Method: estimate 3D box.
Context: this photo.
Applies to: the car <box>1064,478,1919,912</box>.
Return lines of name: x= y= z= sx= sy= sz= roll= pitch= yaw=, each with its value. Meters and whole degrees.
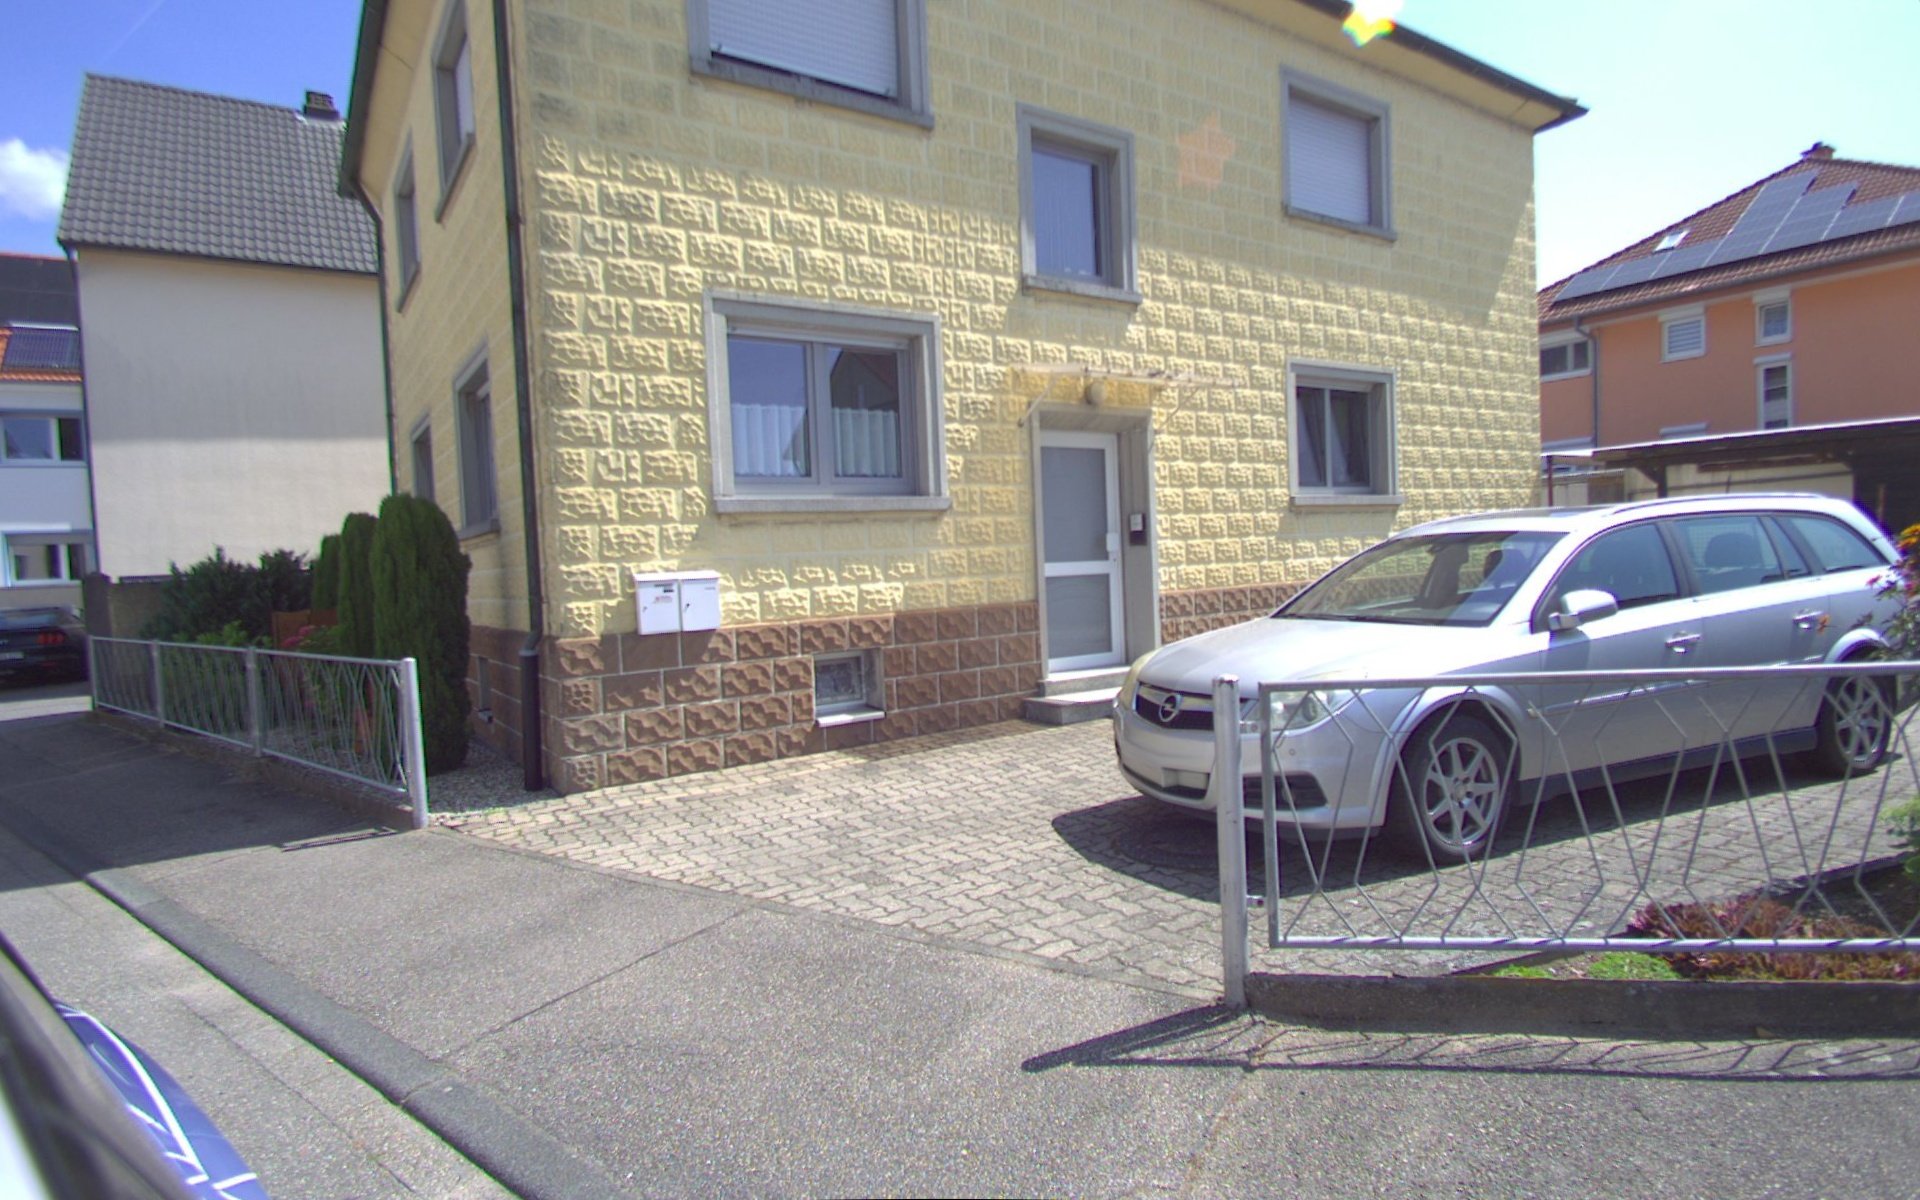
car: x=2.947 y=0.227 z=5.258 sx=4.396 sy=1.496 sz=1.798 roll=-4 pitch=2 yaw=-22

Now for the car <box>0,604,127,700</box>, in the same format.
car: x=-16.389 y=0.865 z=17.979 sx=1.746 sy=1.359 sz=4.483 roll=-6 pitch=4 yaw=-31
